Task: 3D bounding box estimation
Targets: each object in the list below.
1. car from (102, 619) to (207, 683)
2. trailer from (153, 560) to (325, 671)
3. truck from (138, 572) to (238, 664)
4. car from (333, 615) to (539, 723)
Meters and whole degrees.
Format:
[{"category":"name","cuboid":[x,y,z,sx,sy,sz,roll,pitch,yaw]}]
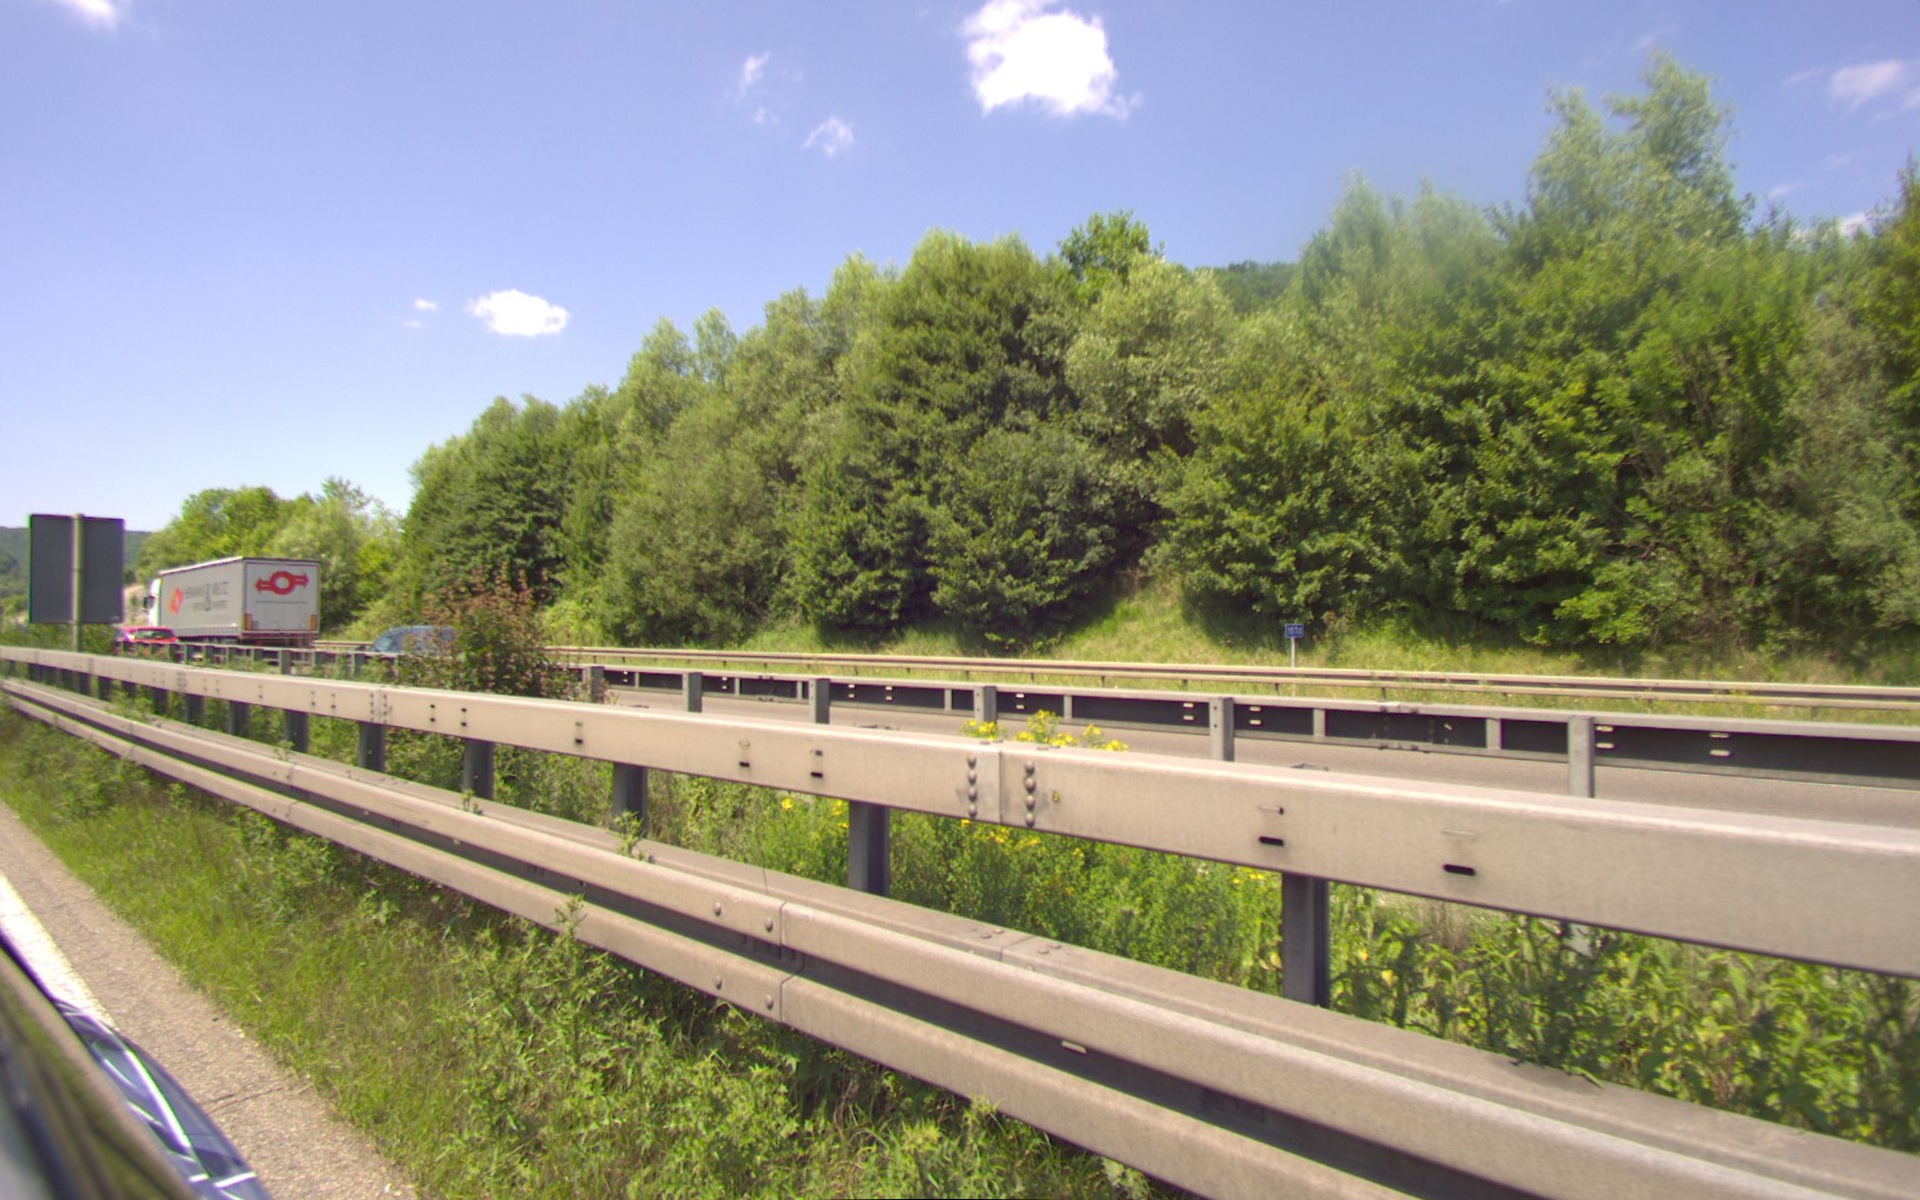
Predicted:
[{"category":"car","cuboid":[-27.784,1.725,34.851,4.329,2.029,1.974,-2,-1,39]},{"category":"trailer","cuboid":[-30.490,0.715,42.338,14.153,4.030,2.753,-2,-1,42]},{"category":"truck","cuboid":[-36.116,0.876,47.306,5.367,4.032,2.699,-2,-2,42]},{"category":"car","cuboid":[-9.338,1.124,17.865,4.490,1.664,1.756,-2,-1,42]}]
